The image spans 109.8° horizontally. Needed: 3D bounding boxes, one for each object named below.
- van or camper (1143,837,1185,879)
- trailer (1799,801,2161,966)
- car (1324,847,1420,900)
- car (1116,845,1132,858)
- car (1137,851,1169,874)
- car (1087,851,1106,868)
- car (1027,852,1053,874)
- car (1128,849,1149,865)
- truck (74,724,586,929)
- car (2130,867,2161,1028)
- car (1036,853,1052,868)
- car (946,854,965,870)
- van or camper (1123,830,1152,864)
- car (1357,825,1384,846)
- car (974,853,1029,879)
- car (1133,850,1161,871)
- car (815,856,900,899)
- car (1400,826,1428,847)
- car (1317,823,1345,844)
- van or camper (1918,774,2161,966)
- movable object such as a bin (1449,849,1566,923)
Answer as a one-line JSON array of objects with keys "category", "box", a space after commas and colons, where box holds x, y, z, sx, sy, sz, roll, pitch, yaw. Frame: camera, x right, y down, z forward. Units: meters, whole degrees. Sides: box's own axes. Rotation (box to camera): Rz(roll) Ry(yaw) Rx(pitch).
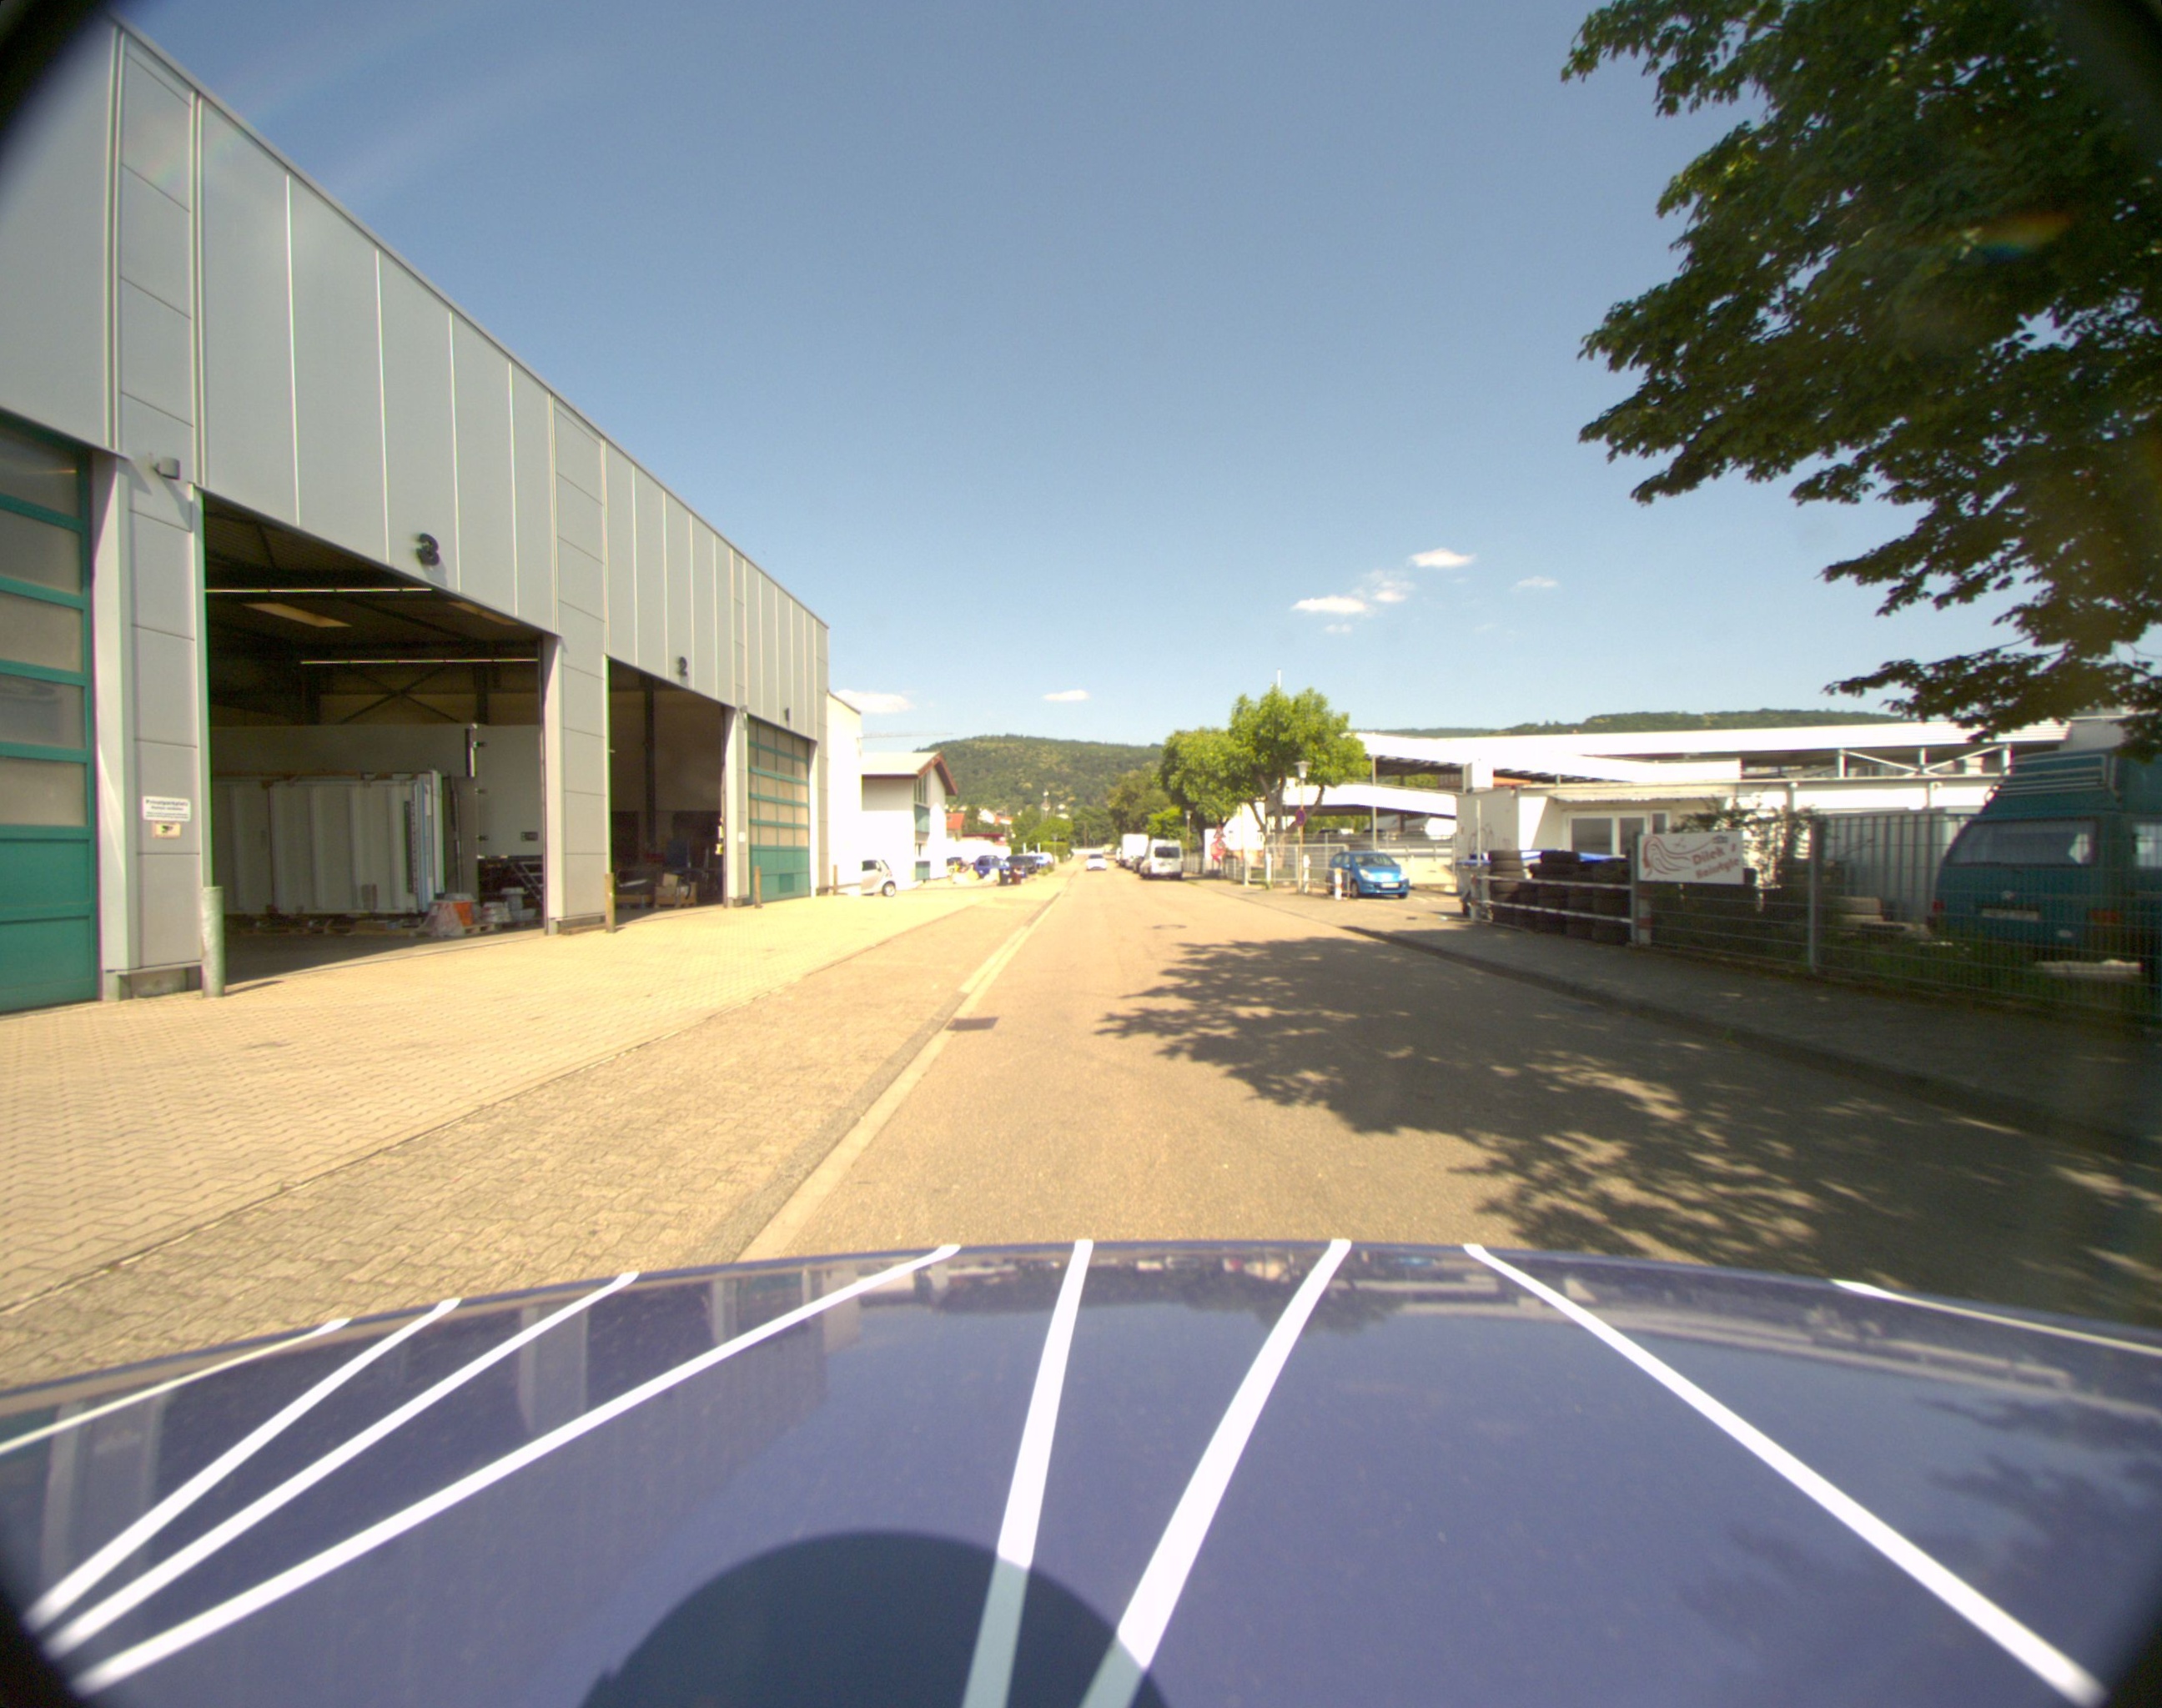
[{"category": "van or camper", "box": [4.953, 0.186, 45.968, 2.028, 2.363, 4.685, 1, 1, 0]}, {"category": "trailer", "box": [14.291, 0.372, 11.541, 4.781, 2.143, 2.000, -3, 1, 1]}, {"category": "car", "box": [9.141, 0.567, 24.141, 1.644, 1.450, 3.524, -3, 1, 0]}, {"category": "car", "box": [5.638, -0.356, 99.972, 1.708, 1.564, 3.524, -3, 1, -2]}, {"category": "car", "box": [4.984, 0.554, 52.872, 1.708, 1.450, 3.524, -3, 1, -2]}, {"category": "car", "box": [1.408, 0.461, 69.310, 1.736, 1.521, 4.109, 0, 0, 1]}, {"category": "car", "box": [-3.033, 0.667, 56.026, 1.453, 1.487, 3.183, -3, 1, -10]}, {"category": "car", "box": [5.334, 0.294, 70.514, 1.708, 1.449, 3.525, 0, 0, 1]}, {"category": "truck", "box": [-14.792, -0.510, 15.393, 7.854, 3.760, 2.624, 0, 1, 2]}, {"category": "car", "box": [11.225, 0.807, 5.679, 3.924, 1.379, 1.860, 0, 1, 4]}, {"category": "car", "box": [-3.658, 0.638, 75.784, 1.452, 1.371, 3.186, -3, 1, -2]}, {"category": "car", "box": [-12.543, 0.784, 76.142, 1.452, 1.371, 3.186, -3, 1, -2]}, {"category": "van or camper", "box": [5.582, -0.708, 76.426, 2.525, 3.350, 5.591, 0, 1, 0]}, {"category": "car", "box": [21.392, -1.391, 56.043, 1.705, 1.450, 3.530, -2, 1, 22]}, {"category": "car", "box": [-4.648, 0.693, 44.832, 2.975, 1.332, 1.453, -3, 1, 2]}, {"category": "car", "box": [5.121, 0.465, 59.473, 1.708, 1.450, 3.524, -3, 1, -2]}, {"category": "car", "box": [-8.586, 0.880, 29.327, 1.309, 1.525, 2.829, -2, -1, 44]}, {"category": "car", "box": [24.312, -1.280, 55.567, 1.705, 1.450, 3.530, -2, 1, 22]}, {"category": "car", "box": [18.507, -1.504, 56.244, 1.705, 1.449, 3.530, 0, 1, 22]}, {"category": "van or camper", "box": [12.205, 0.060, 8.222, 4.192, 1.853, 1.774, -3, 1, 3]}, {"category": "movable object such as a bin", "box": [8.748, 0.613, 15.732, 1.383, 1.350, 2.104, -2, 1, 6]}]
